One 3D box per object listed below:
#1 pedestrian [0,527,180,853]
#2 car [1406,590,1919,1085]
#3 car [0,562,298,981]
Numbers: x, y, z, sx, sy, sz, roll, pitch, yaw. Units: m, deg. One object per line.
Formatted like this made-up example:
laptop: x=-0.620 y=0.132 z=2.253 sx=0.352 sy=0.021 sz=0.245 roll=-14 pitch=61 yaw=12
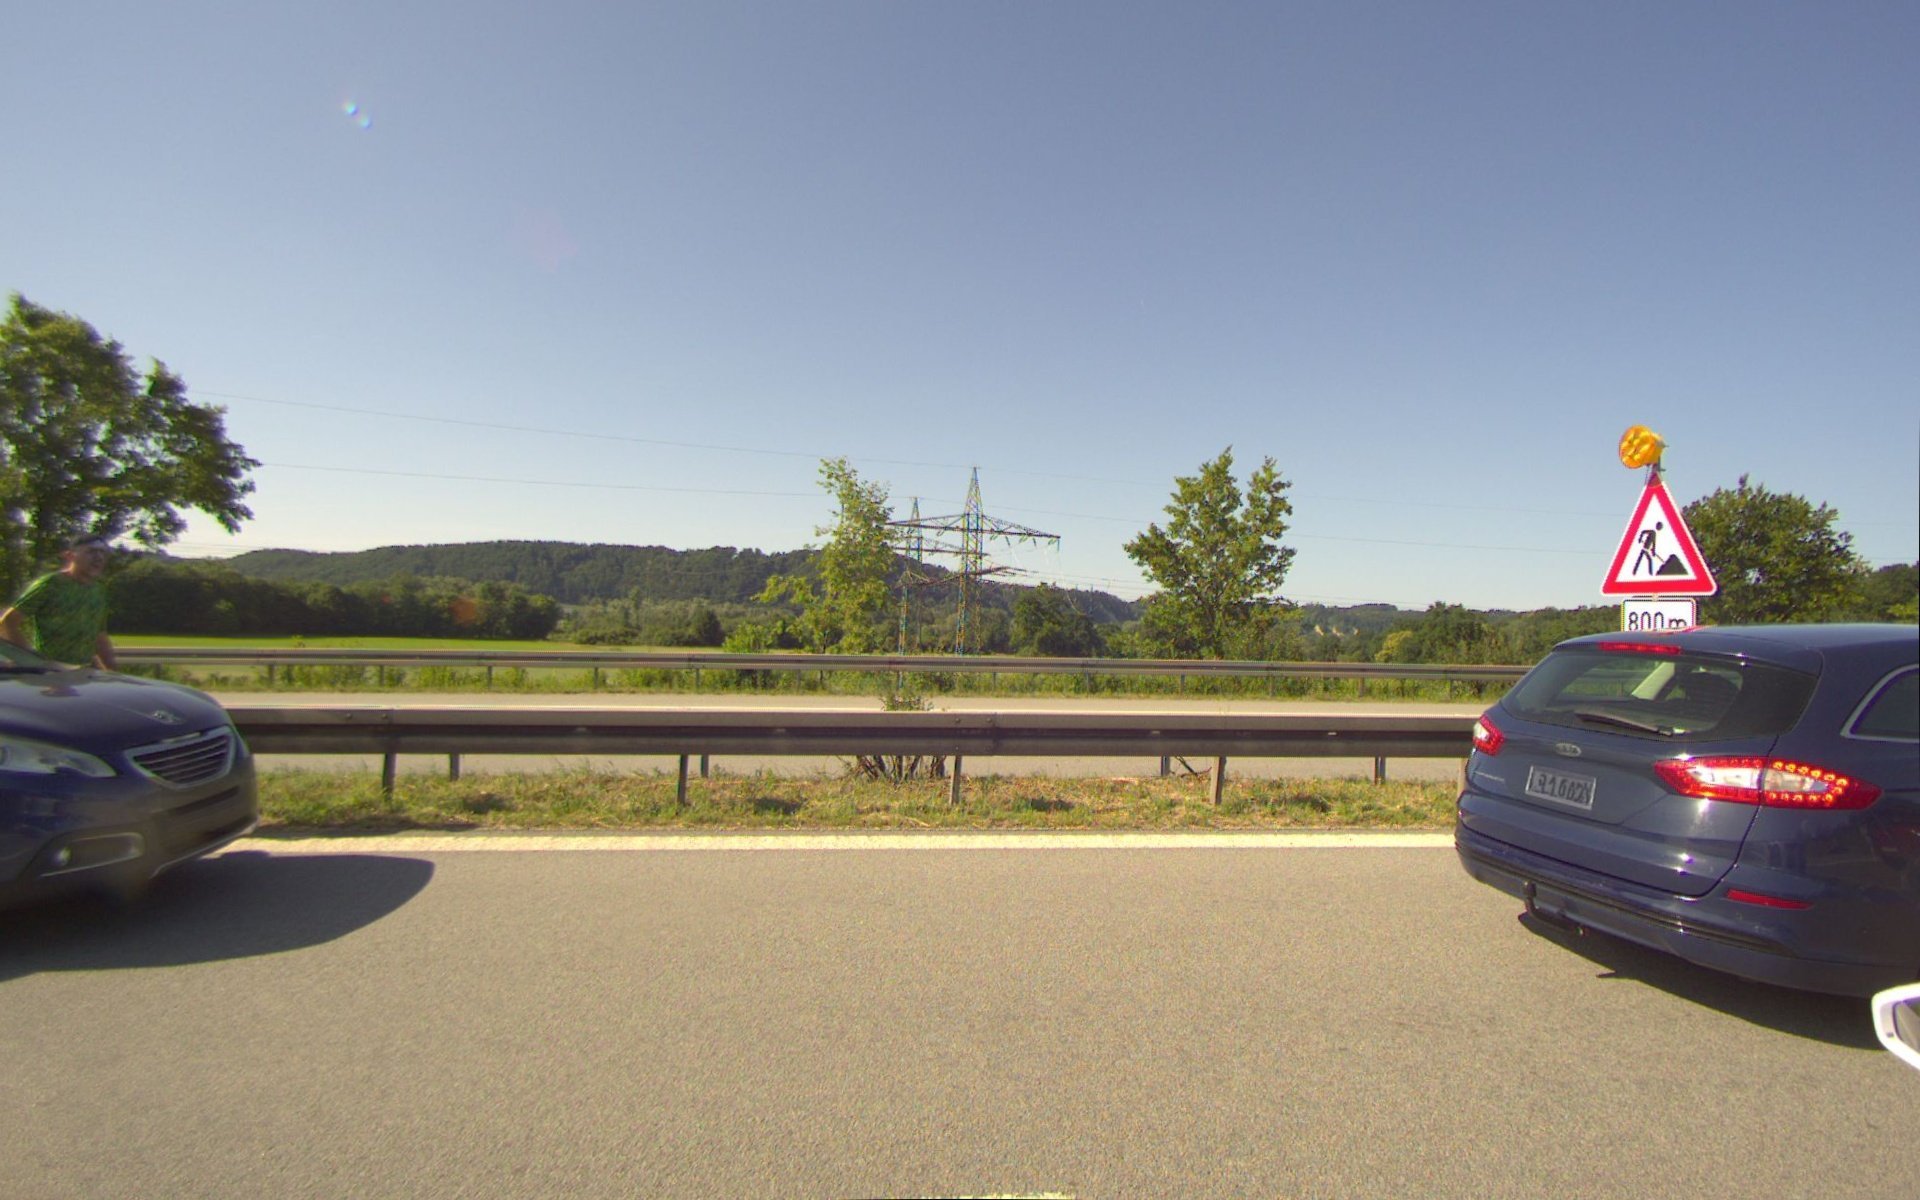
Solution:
pedestrian: x=-5.199 y=0.496 z=5.811 sx=0.799 sy=1.773 sz=0.672 roll=1 pitch=-1 yaw=-6
car: x=4.498 y=0.795 z=4.526 sx=4.418 sy=1.513 sz=1.788 roll=1 pitch=-1 yaw=-15
car: x=-5.358 y=0.587 z=4.259 sx=3.877 sy=1.555 sz=1.690 roll=1 pitch=1 yaw=-10
